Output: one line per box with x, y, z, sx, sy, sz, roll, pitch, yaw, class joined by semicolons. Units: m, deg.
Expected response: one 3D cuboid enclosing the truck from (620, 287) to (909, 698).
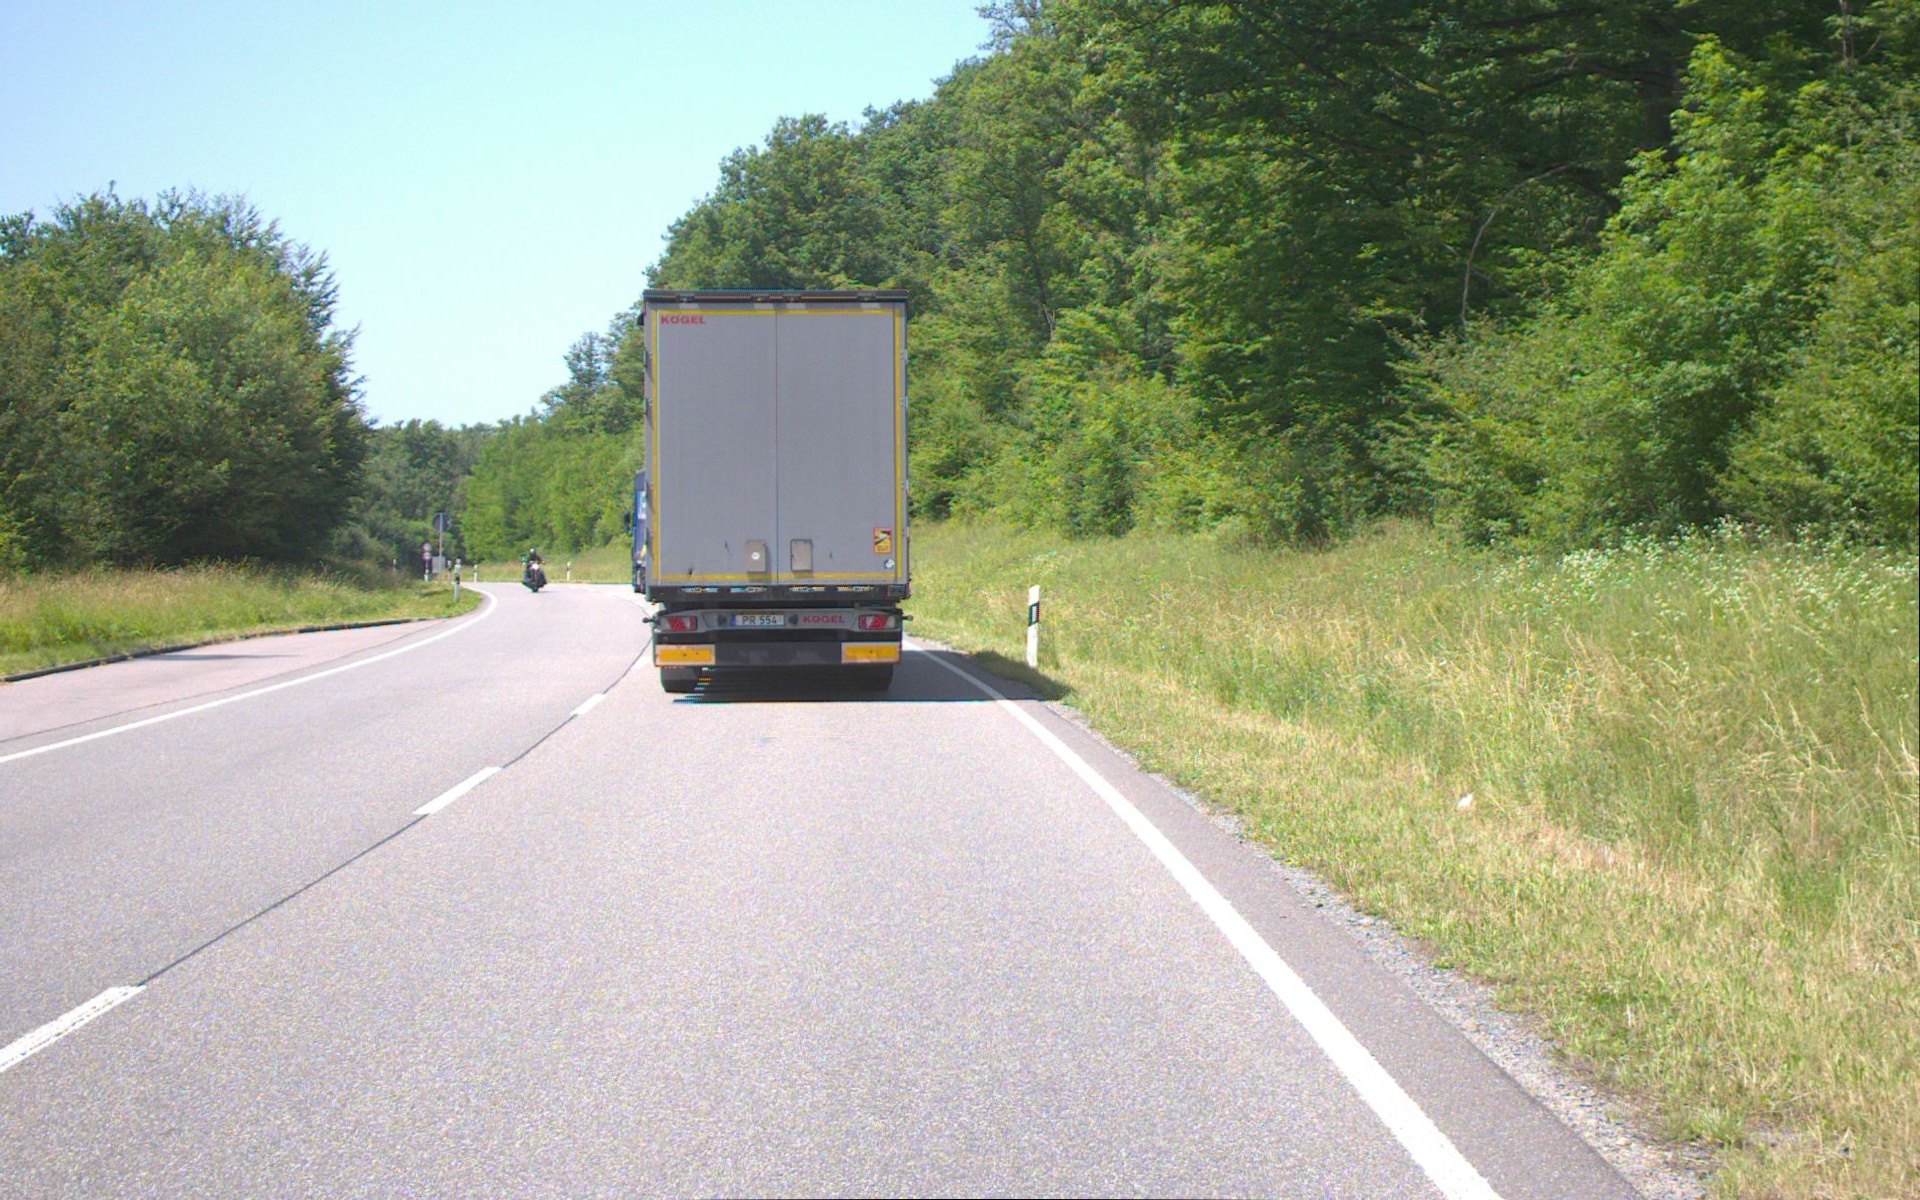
-2.085;-1.120;38.995;2.761;3.933;12.199;0;1;-2;truck

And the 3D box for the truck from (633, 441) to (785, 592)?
-8.051;-2.582;108.020;3.792;4.358;14.923;1;1;-8;truck
